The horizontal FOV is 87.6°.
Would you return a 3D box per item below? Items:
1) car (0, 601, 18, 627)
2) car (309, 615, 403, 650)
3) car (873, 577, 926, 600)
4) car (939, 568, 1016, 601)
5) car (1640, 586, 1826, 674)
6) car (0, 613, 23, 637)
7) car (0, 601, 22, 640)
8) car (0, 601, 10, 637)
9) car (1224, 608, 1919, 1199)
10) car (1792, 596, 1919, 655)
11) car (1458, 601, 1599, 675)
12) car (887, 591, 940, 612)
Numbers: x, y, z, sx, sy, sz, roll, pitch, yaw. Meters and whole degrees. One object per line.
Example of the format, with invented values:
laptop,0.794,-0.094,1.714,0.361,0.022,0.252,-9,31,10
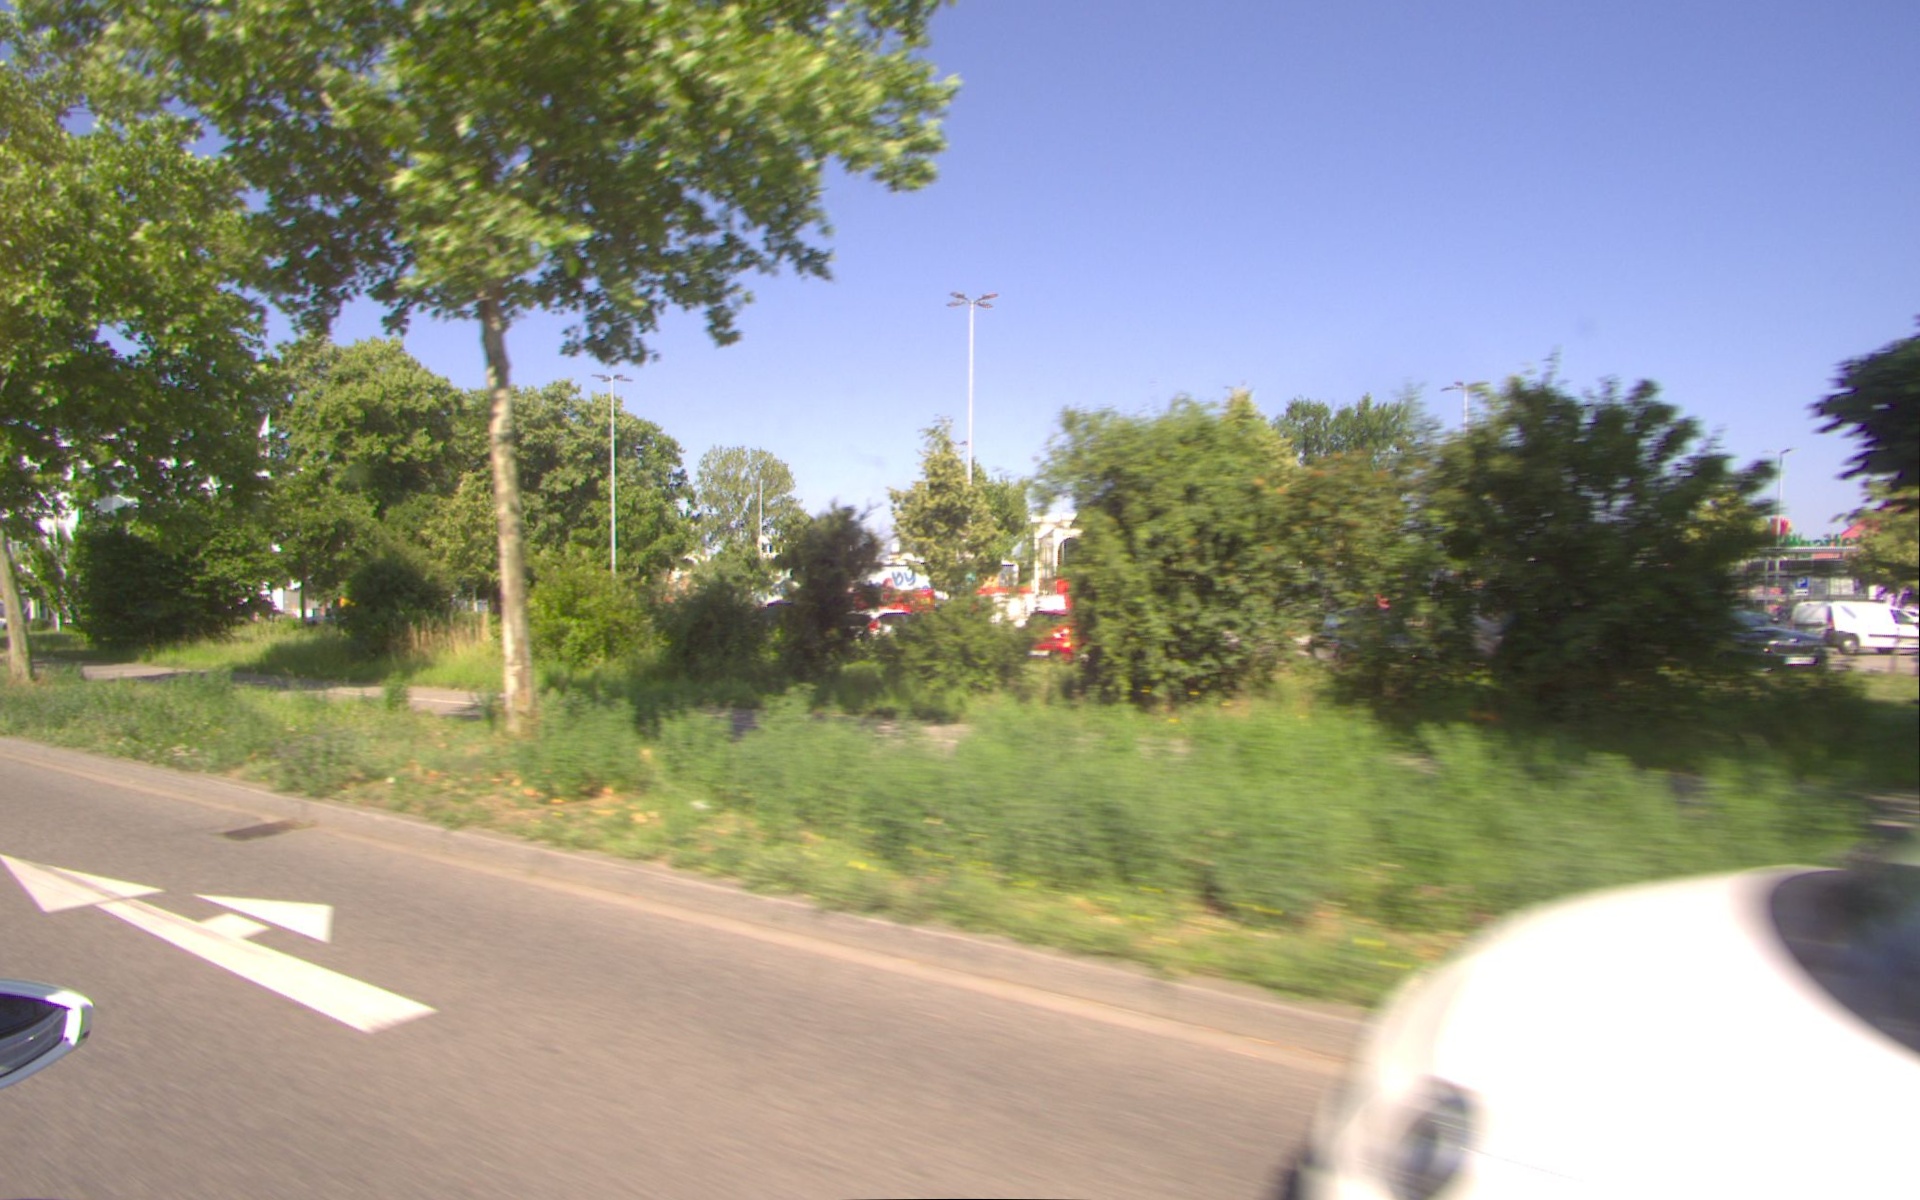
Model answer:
car,-77.178,1.084,78.468,1.971,2.039,4.518,0,-2,31
car,-30.444,1.637,50.551,3.681,1.738,1.766,1,-1,-14
car,-5.944,-1.115,98.357,5.188,2.037,2.002,0,-4,-4
car,1.317,-1.172,76.364,5.822,2.371,2.115,0,-1,1
car,15.850,0.616,20.762,1.698,1.661,3.651,0,-1,14
car,-58.267,1.459,59.063,1.697,1.445,4.456,0,-2,3
car,-43.701,0.884,43.597,1.701,1.683,3.973,-1,-2,38
car,-46.344,0.852,45.838,1.701,1.683,3.973,-1,-2,38
car,2.237,0.742,1.037,3.471,1.455,1.658,-1,-2,34
car,28.964,0.813,31.687,3.922,1.794,1.763,0,-1,-3
car,12.056,0.796,21.485,1.671,1.438,3.544,0,-2,13
car,-4.266,0.125,92.555,4.824,1.906,1.770,0,-1,2
